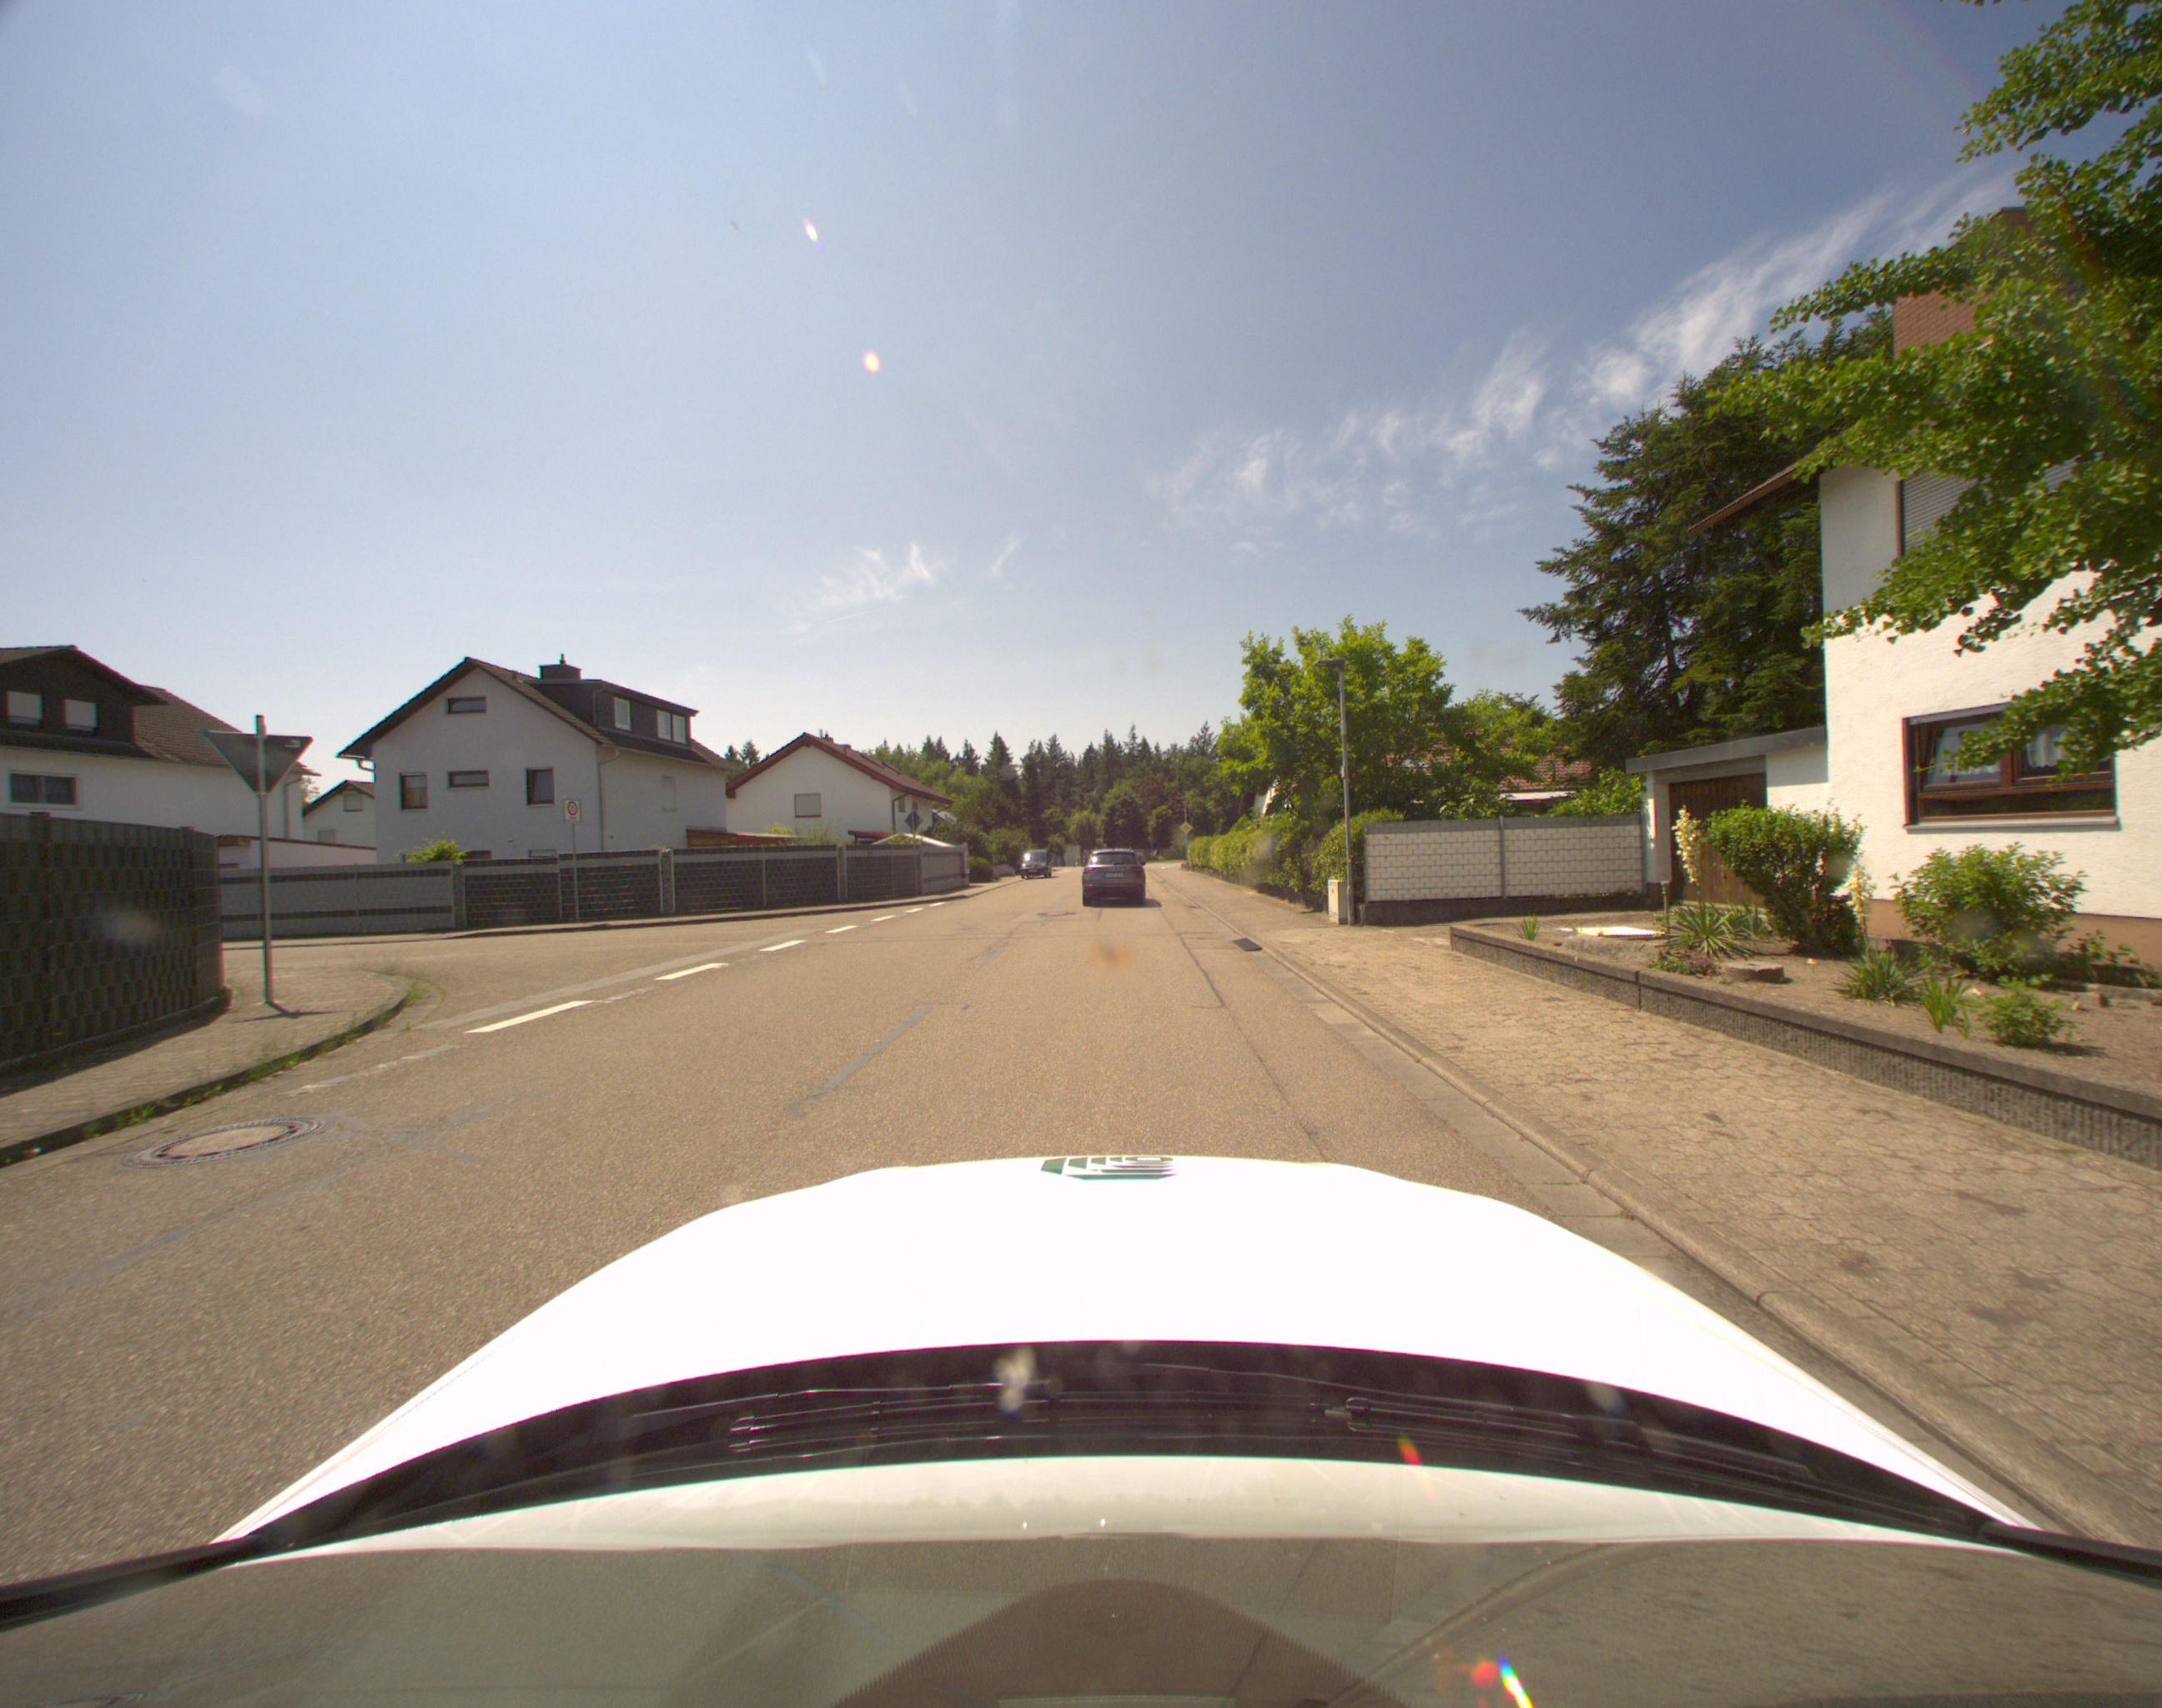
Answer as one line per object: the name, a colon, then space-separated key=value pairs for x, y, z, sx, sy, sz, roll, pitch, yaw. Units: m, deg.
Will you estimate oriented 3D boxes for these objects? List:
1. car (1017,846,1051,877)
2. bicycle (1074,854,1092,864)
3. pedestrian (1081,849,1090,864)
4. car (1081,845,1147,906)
car: x=-2.935 y=0.464 z=51.612 sx=1.711 sy=1.846 sz=4.056 roll=-2 pitch=0 yaw=2
bicycle: x=0.174 y=0.492 z=79.599 sx=1.857 sy=0.964 sz=0.438 roll=-2 pitch=0 yaw=-38
pedestrian: x=0.418 y=0.257 z=79.176 sx=0.615 sy=1.501 sz=0.499 roll=-2 pitch=0 yaw=-38
car: x=0.968 y=0.571 z=23.979 sx=1.755 sy=1.618 sz=4.002 roll=0 pitch=0 yaw=2
